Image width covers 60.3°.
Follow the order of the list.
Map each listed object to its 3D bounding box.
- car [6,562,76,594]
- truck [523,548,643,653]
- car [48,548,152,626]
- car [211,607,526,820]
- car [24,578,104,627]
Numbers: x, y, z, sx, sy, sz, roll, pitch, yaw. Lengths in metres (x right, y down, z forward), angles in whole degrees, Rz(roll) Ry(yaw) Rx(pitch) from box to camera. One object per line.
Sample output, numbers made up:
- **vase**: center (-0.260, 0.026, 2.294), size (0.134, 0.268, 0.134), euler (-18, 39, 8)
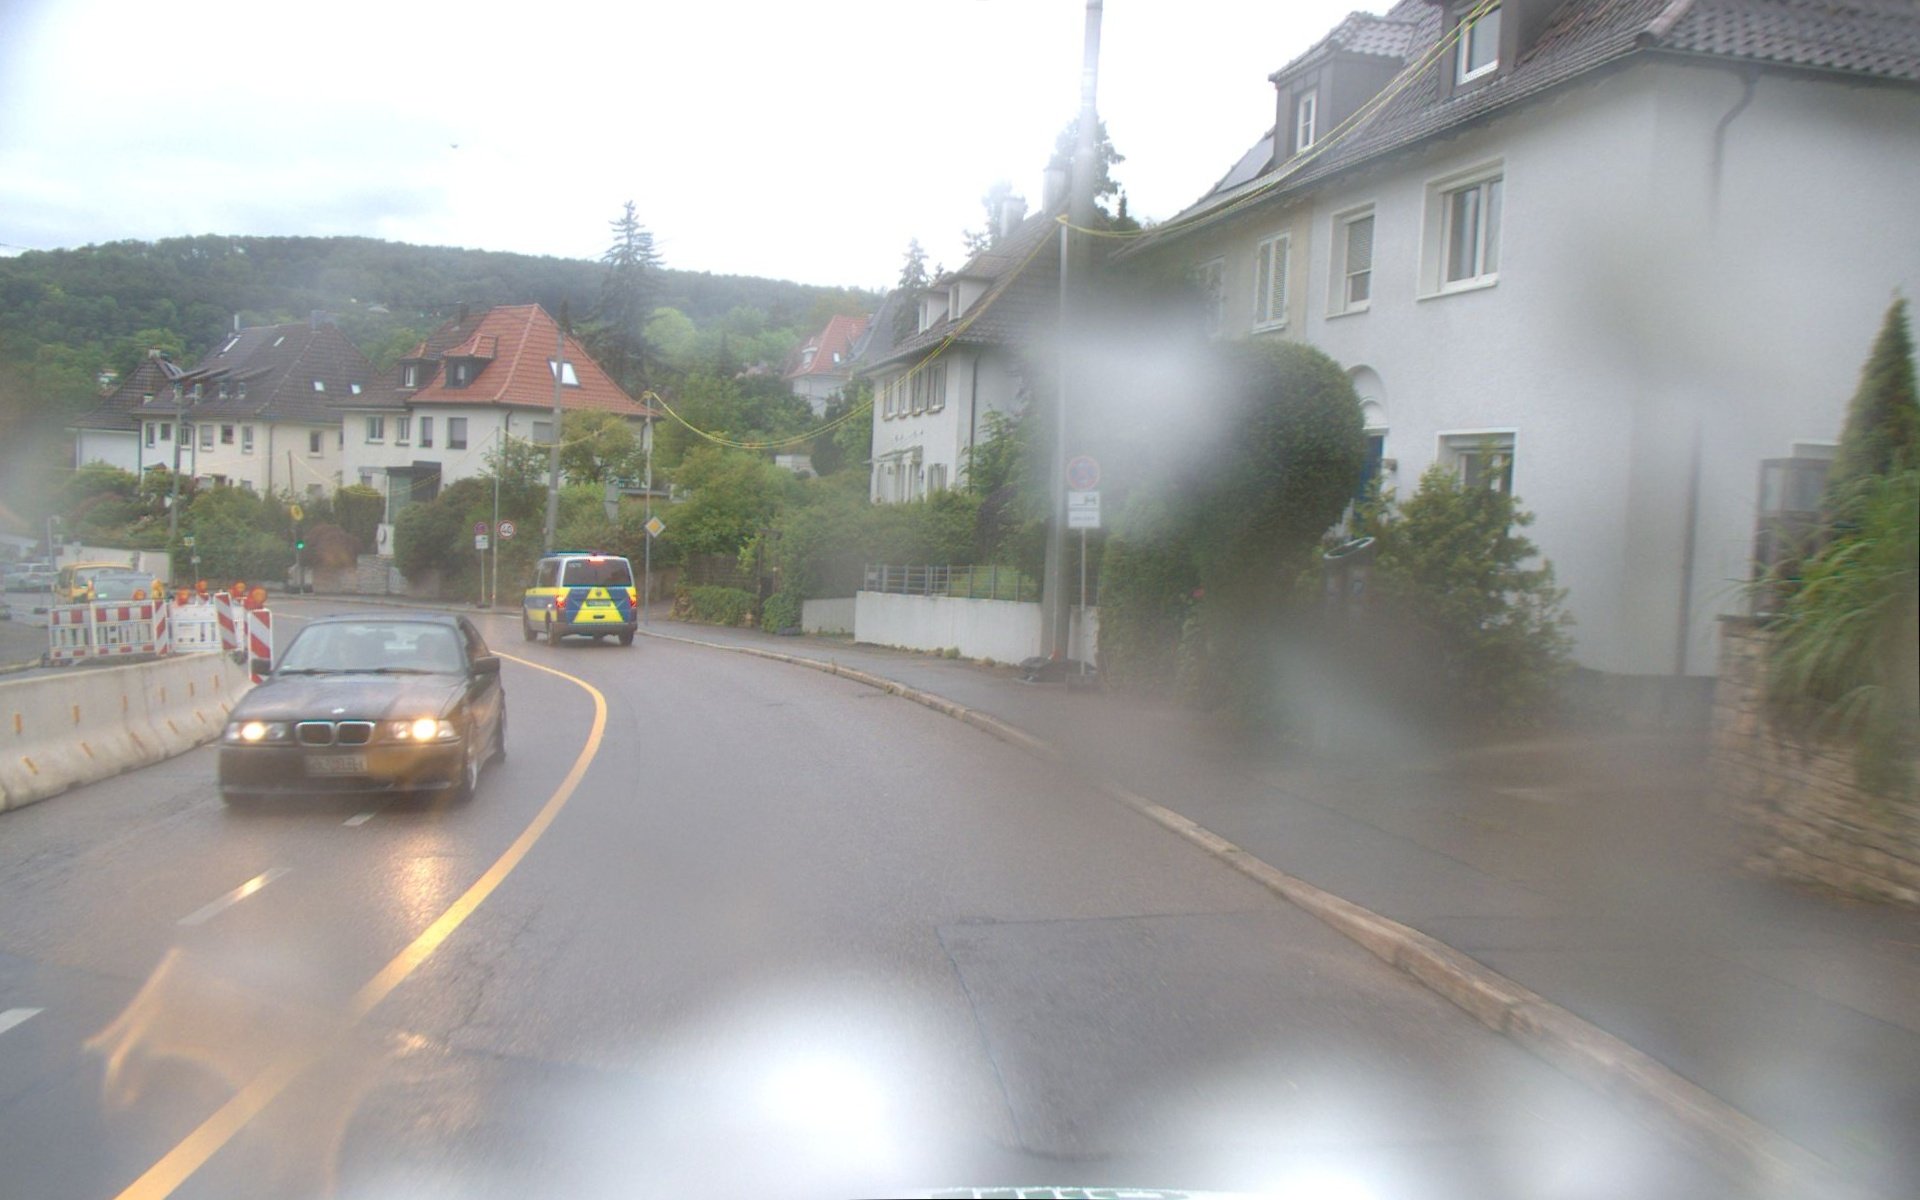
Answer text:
- **car**: center (-47.668, -1.146, 85.784), size (3.928, 1.601, 1.988), euler (1, 1, 42)
- **truck**: center (-8.632, -0.069, 37.560), size (1.965, 2.048, 4.706), euler (0, 4, -22)
- **car**: center (-24.195, -0.369, 46.447), size (1.977, 2.049, 5.079), euler (0, 1, -35)
- **car**: center (-4.448, 0.761, 13.037), size (1.618, 1.334, 4.253), euler (-2, 0, -10)
- **car**: center (-28.746, 0.068, 53.021), size (1.831, 1.489, 3.721), euler (0, 1, -35)
